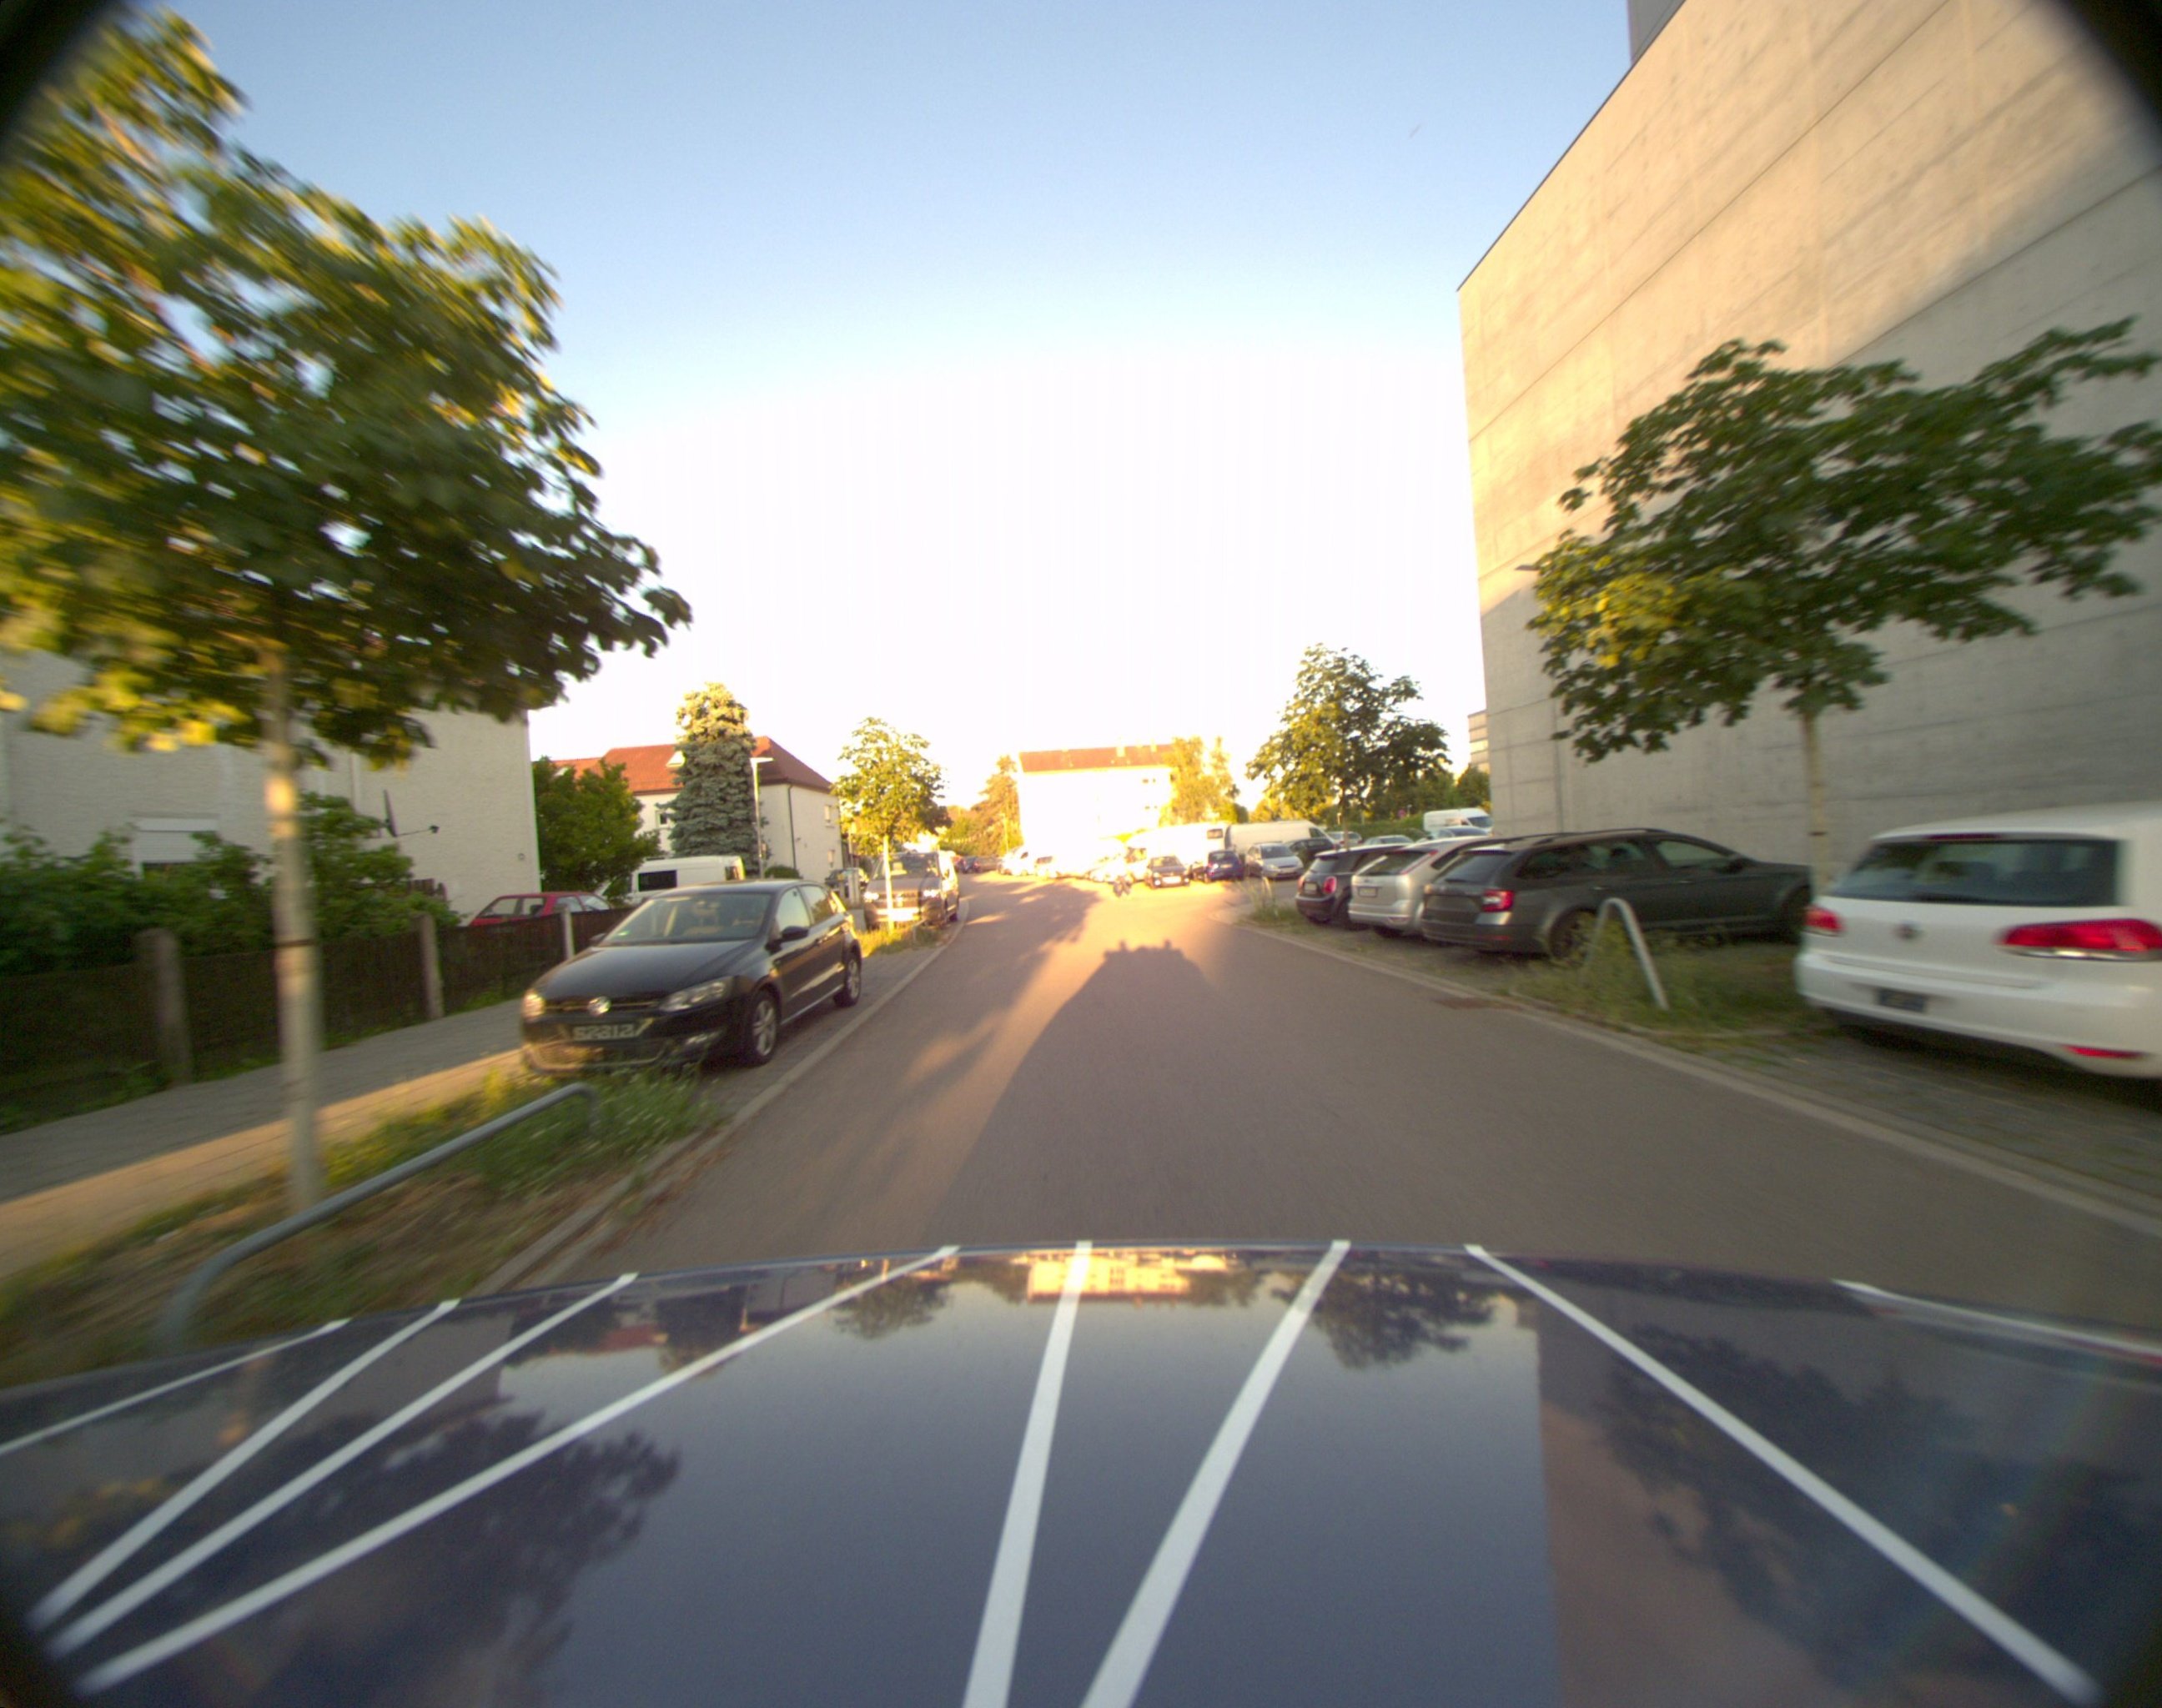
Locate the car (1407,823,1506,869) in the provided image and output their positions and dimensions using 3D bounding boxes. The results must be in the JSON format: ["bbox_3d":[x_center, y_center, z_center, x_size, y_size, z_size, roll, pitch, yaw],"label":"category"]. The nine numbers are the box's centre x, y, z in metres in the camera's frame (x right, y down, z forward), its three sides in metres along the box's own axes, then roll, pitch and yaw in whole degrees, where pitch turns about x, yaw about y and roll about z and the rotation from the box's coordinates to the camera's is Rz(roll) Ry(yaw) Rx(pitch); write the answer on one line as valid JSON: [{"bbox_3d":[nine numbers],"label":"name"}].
[{"bbox_3d":[15.781,-0.407,32.215,1.667,1.613,4.401,-6,4,-4],"label":"car"}]

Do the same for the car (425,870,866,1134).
[{"bbox_3d":[-3.348,1.003,6.771,1.745,1.543,3.639,-3,0,0],"label":"car"}]

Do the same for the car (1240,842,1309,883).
[{"bbox_3d":[8.386,0.309,33.223,1.667,1.472,4.201,-6,2,-2],"label":"car"}]

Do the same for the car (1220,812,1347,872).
[{"bbox_3d":[11.247,-0.667,42.432,6.261,2.658,2.221,-5,1,-7],"label":"car"}]

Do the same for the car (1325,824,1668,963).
[{"bbox_3d":[6.064,0.525,11.366,4.098,1.520,1.845,-5,1,-7],"label":"car"}]

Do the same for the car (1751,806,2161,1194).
[{"bbox_3d":[6.390,0.495,4.052,3.997,1.502,1.760,-5,0,0],"label":"car"}]

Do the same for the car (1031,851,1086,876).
[{"bbox_3d":[-1.756,0.726,58.458,3.938,1.581,1.747,-5,1,-9],"label":"car"}]

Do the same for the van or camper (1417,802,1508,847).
[{"bbox_3d":[26.180,-1.934,52.488,2.021,2.675,6.635,-6,1,-8],"label":"van or camper"}]

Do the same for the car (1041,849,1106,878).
[{"bbox_3d":[-0.544,0.656,54.015,4.140,1.582,1.746,-6,2,-14],"label":"car"}]

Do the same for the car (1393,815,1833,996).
[{"bbox_3d":[5.961,0.531,8.738,4.010,1.503,1.584,-5,-1,-7],"label":"car"}]

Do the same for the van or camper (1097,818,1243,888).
[{"bbox_3d":[4.427,-0.054,38.492,6.761,2.881,2.407,-5,1,-8],"label":"van or camper"}]

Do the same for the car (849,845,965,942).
[{"bbox_3d":[-4.305,0.905,19.662,2.071,2.082,4.870,-3,0,-4],"label":"car"}]

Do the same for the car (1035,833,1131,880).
[{"bbox_3d":[0.099,0.144,51.739,5.908,2.520,2.409,-6,2,-12],"label":"car"}]

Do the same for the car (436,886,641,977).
[{"bbox_3d":[-10.951,1.490,15.680,1.532,1.436,3.639,-3,0,0],"label":"car"}]

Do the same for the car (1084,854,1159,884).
[{"bbox_3d":[2.291,0.829,43.362,3.821,1.321,1.691,-5,1,-14],"label":"car"}]

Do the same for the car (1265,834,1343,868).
[{"bbox_3d":[11.627,-0.169,39.703,3.448,1.439,1.513,-5,1,-7],"label":"car"}]

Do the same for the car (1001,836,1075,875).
[{"bbox_3d":[-3.788,0.122,66.391,5.848,2.697,2.047,-6,1,-19],"label":"car"}]

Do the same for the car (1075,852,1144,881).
[{"bbox_3d":[1.726,0.739,46.051,3.739,1.359,1.703,-5,1,-15],"label":"car"}]

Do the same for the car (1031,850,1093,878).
[{"bbox_3d":[-1.400,0.721,56.151,4.141,1.582,1.745,-6,2,-16],"label":"car"}]

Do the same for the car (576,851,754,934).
[{"bbox_3d":[-15.987,1.465,29.438,5.578,2.676,2.053,-4,-1,-2],"label":"car"}]

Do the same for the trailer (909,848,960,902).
[{"bbox_3d":[-6.909,0.940,35.743,2.071,2.198,5.218,-3,0,-11],"label":"trailer"}]

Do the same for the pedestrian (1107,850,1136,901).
[{"bbox_3d":[1.515,0.799,28.740,0.902,1.839,0.856,-4,0,-3],"label":"pedestrian"}]

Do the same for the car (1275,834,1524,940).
[{"bbox_3d":[5.773,0.574,14.038,3.745,1.473,1.769,-5,0,-6],"label":"car"}]

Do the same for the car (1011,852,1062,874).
[{"bbox_3d":[-3.745,0.780,63.835,3.940,1.498,1.787,-5,1,-16],"label":"car"}]

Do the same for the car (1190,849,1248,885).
[{"bbox_3d":[6.136,0.554,34.136,1.667,1.414,3.721,-4,1,-3],"label":"car"}]

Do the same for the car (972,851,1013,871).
[{"bbox_3d":[-9.455,0.755,80.961,3.939,1.643,1.746,-6,1,-14],"label":"car"}]

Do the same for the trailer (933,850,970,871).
[{"bbox_3d":[-18.404,0.908,108.168,4.809,2.419,2.131,-6,3,-16],"label":"trailer"}]

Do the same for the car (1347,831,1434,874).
[{"bbox_3d":[13.433,-0.125,33.290,1.667,1.472,4.401,-6,4,-4],"label":"car"}]

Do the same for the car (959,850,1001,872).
[{"bbox_3d":[-11.043,0.775,83.046,3.943,1.900,1.744,-7,1,-30],"label":"car"}]

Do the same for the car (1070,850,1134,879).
[{"bbox_3d":[1.346,0.660,48.617,3.641,1.510,1.703,-5,1,-15],"label":"car"}]

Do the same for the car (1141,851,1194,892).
[{"bbox_3d":[3.801,0.744,34.154,1.691,1.510,4.360,-5,1,-1],"label":"car"}]

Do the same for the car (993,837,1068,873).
[{"bbox_3d":[-4.724,0.073,70.781,6.414,2.698,2.109,-7,3,-24],"label":"car"}]
